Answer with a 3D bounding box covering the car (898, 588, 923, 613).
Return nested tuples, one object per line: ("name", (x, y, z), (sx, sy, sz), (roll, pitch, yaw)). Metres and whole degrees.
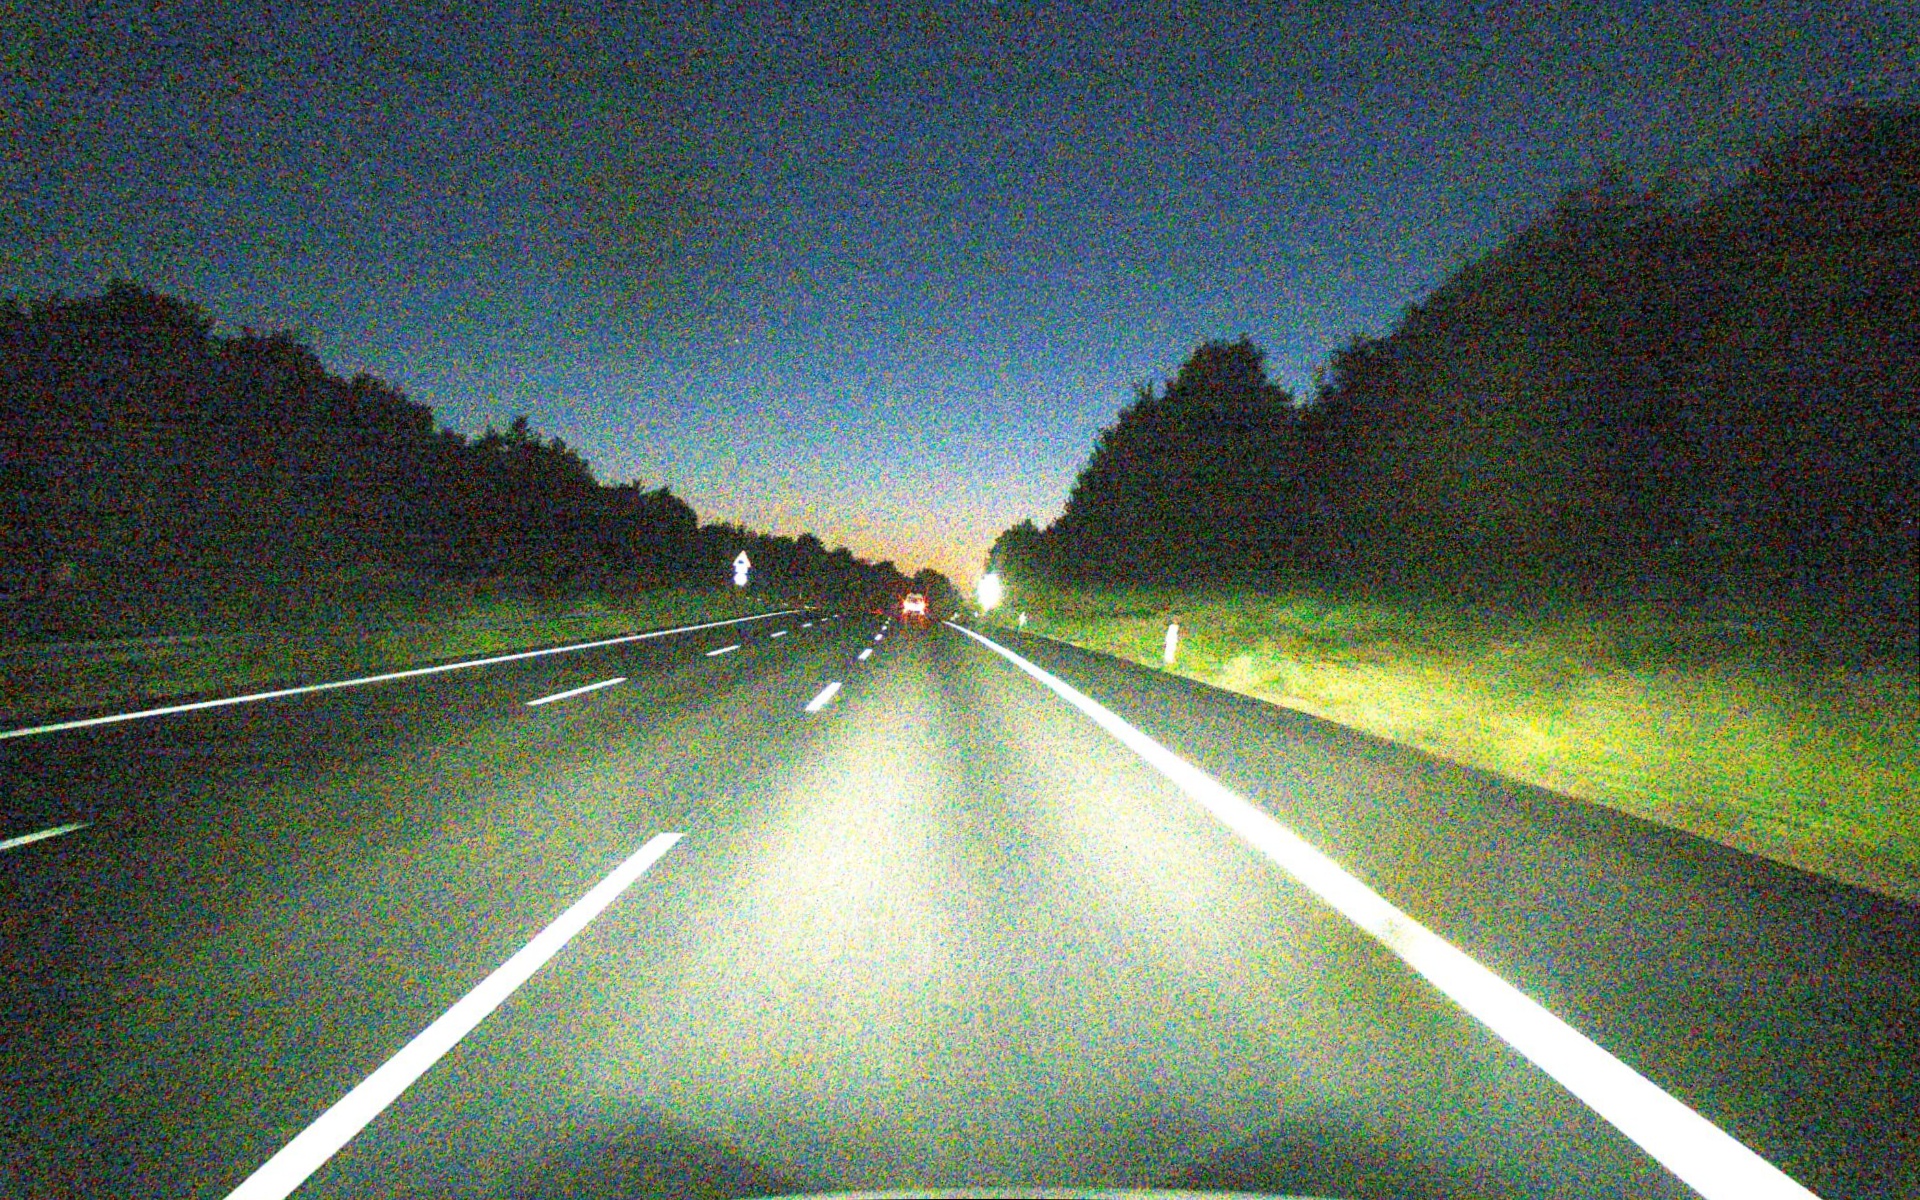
("car", (-5.385, 0.018, 182.223), (2.476, 2.598, 6.050), (2, 0, 0))
